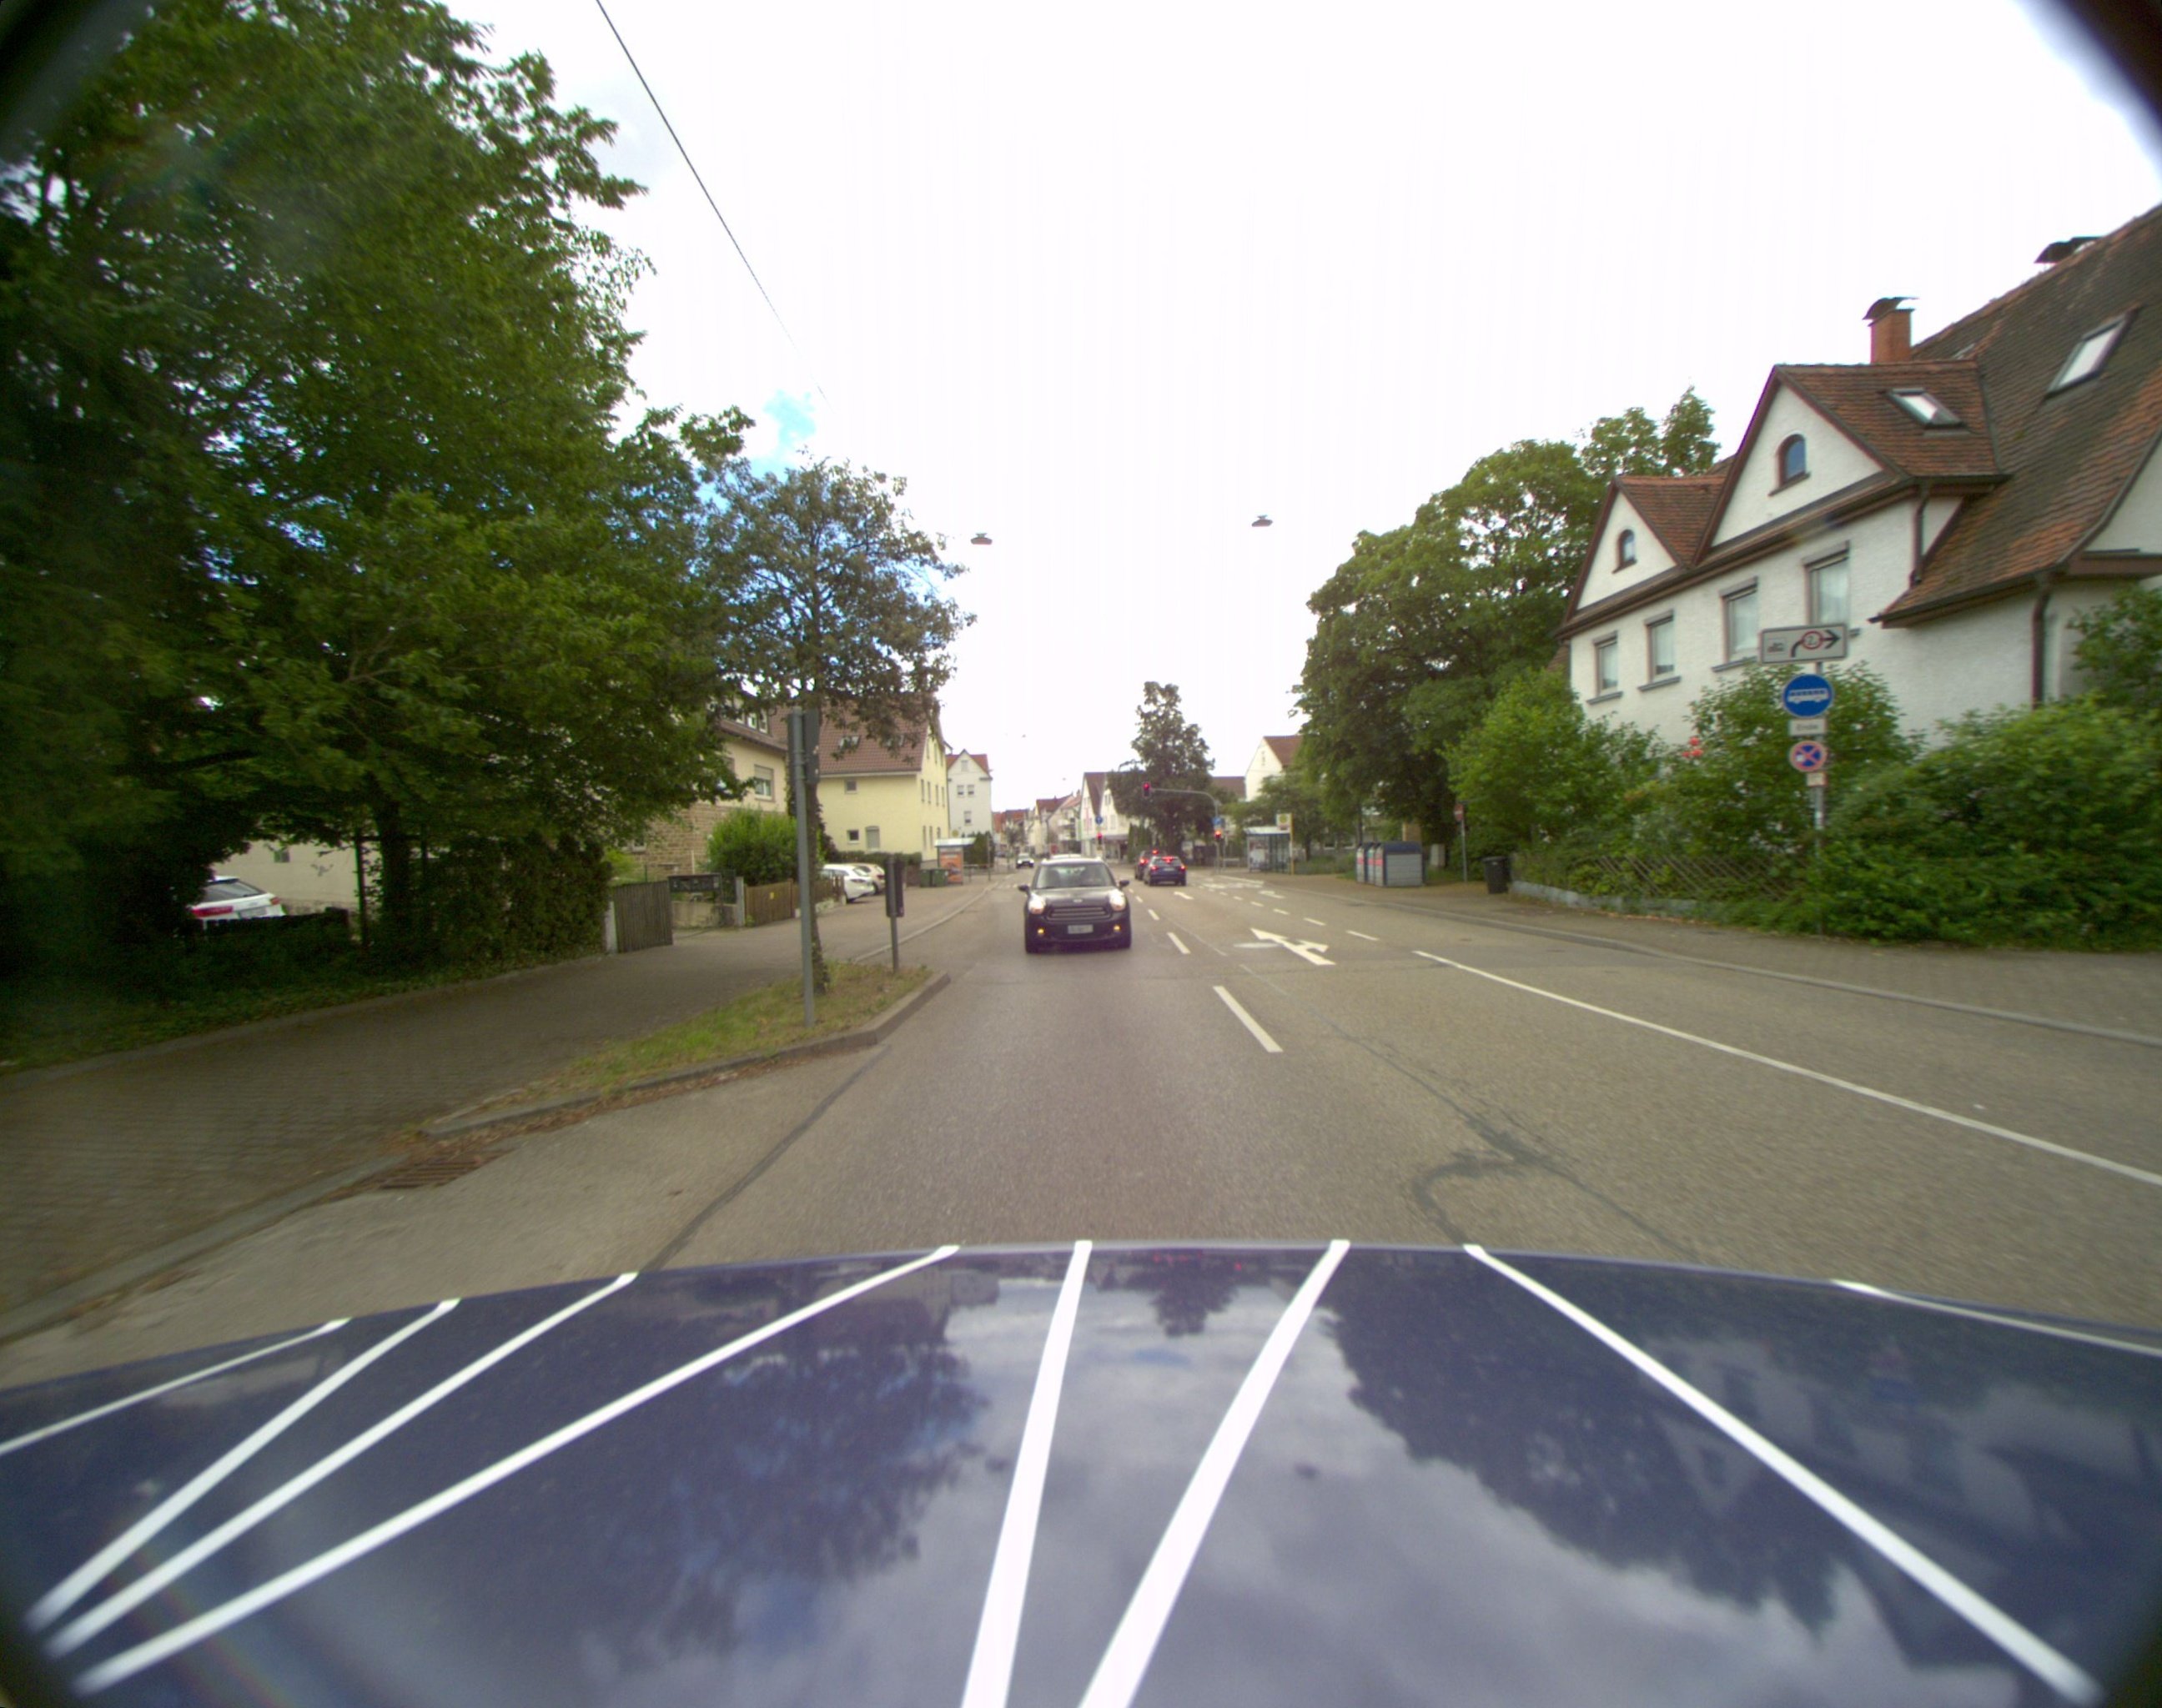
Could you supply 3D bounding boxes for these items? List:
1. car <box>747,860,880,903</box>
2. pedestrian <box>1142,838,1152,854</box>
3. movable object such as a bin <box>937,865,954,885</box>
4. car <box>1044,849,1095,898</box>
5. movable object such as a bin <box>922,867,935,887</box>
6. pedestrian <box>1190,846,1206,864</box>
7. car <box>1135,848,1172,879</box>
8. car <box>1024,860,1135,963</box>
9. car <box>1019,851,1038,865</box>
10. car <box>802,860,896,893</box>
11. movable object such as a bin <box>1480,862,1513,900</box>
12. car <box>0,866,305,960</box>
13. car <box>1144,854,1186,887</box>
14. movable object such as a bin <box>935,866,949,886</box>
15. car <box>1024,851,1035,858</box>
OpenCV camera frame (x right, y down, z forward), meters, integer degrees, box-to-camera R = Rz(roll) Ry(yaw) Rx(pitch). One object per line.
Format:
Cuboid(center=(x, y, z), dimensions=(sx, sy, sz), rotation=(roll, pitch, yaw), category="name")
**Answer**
Cuboid(center=(-10.148, 1.035, 29.095), dimensions=(4.431, 1.480, 1.864), rotation=(0, 2, -1), category="car")
Cuboid(center=(6.919, -0.857, 79.356), dimensions=(0.642, 1.596, 0.865), rotation=(-3, 2, -20), category="pedestrian")
Cuboid(center=(-7.495, 1.153, 42.106), dimensions=(0.636, 1.040, 0.592), rotation=(-2, 2, 25), category="movable object such as a bin")
Cuboid(center=(-0.498, 0.725, 30.588), dimensions=(1.811, 1.556, 4.615), rotation=(-2, 3, -2), category="car")
Cuboid(center=(-8.274, 1.222, 41.233), dimensions=(0.638, 1.040, 0.585), rotation=(-1, 2, -8), category="movable object such as a bin")
Cuboid(center=(11.463, 0.131, 74.266), dimensions=(0.825, 1.744, 1.226), rotation=(-4, 2, -41), category="pedestrian")
Cuboid(center=(4.178, 0.519, 44.386), dimensions=(1.762, 1.626, 4.593), rotation=(1, 2, 0), category="car")
Cuboid(center=(-0.093, 0.918, 13.850), dimensions=(1.694, 1.506, 3.999), rotation=(-2, 0, -2), category="car")
Cuboid(center=(-6.328, 0.442, 90.806), dimensions=(1.847, 1.510, 3.996), rotation=(-3, 1, -10), category="car")
Cuboid(center=(-10.409, 1.019, 34.288), dimensions=(3.814, 1.394, 1.639), rotation=(0, 2, -5), category="car")
Cuboid(center=(11.814, 0.764, 21.616), dimensions=(0.718, 1.013, 0.724), rotation=(-4, -1, 33), category="movable object such as a bin")
Cuboid(center=(-17.870, 1.059, 14.379), dimensions=(4.095, 1.388, 1.832), rotation=(-1, 6, -8), category="car")
Cuboid(center=(4.028, 0.756, 37.004), dimensions=(1.568, 1.412, 4.129), rotation=(-1, 1, 0), category="car")
Cuboid(center=(-7.568, 1.177, 41.328), dimensions=(0.638, 1.040, 0.585), rotation=(-3, 2, -8), category="movable object such as a bin")
Cuboid(center=(-10.301, 0.076, 151.219), dimensions=(1.635, 1.404, 3.995), rotation=(0, 1, -13), category="car")
